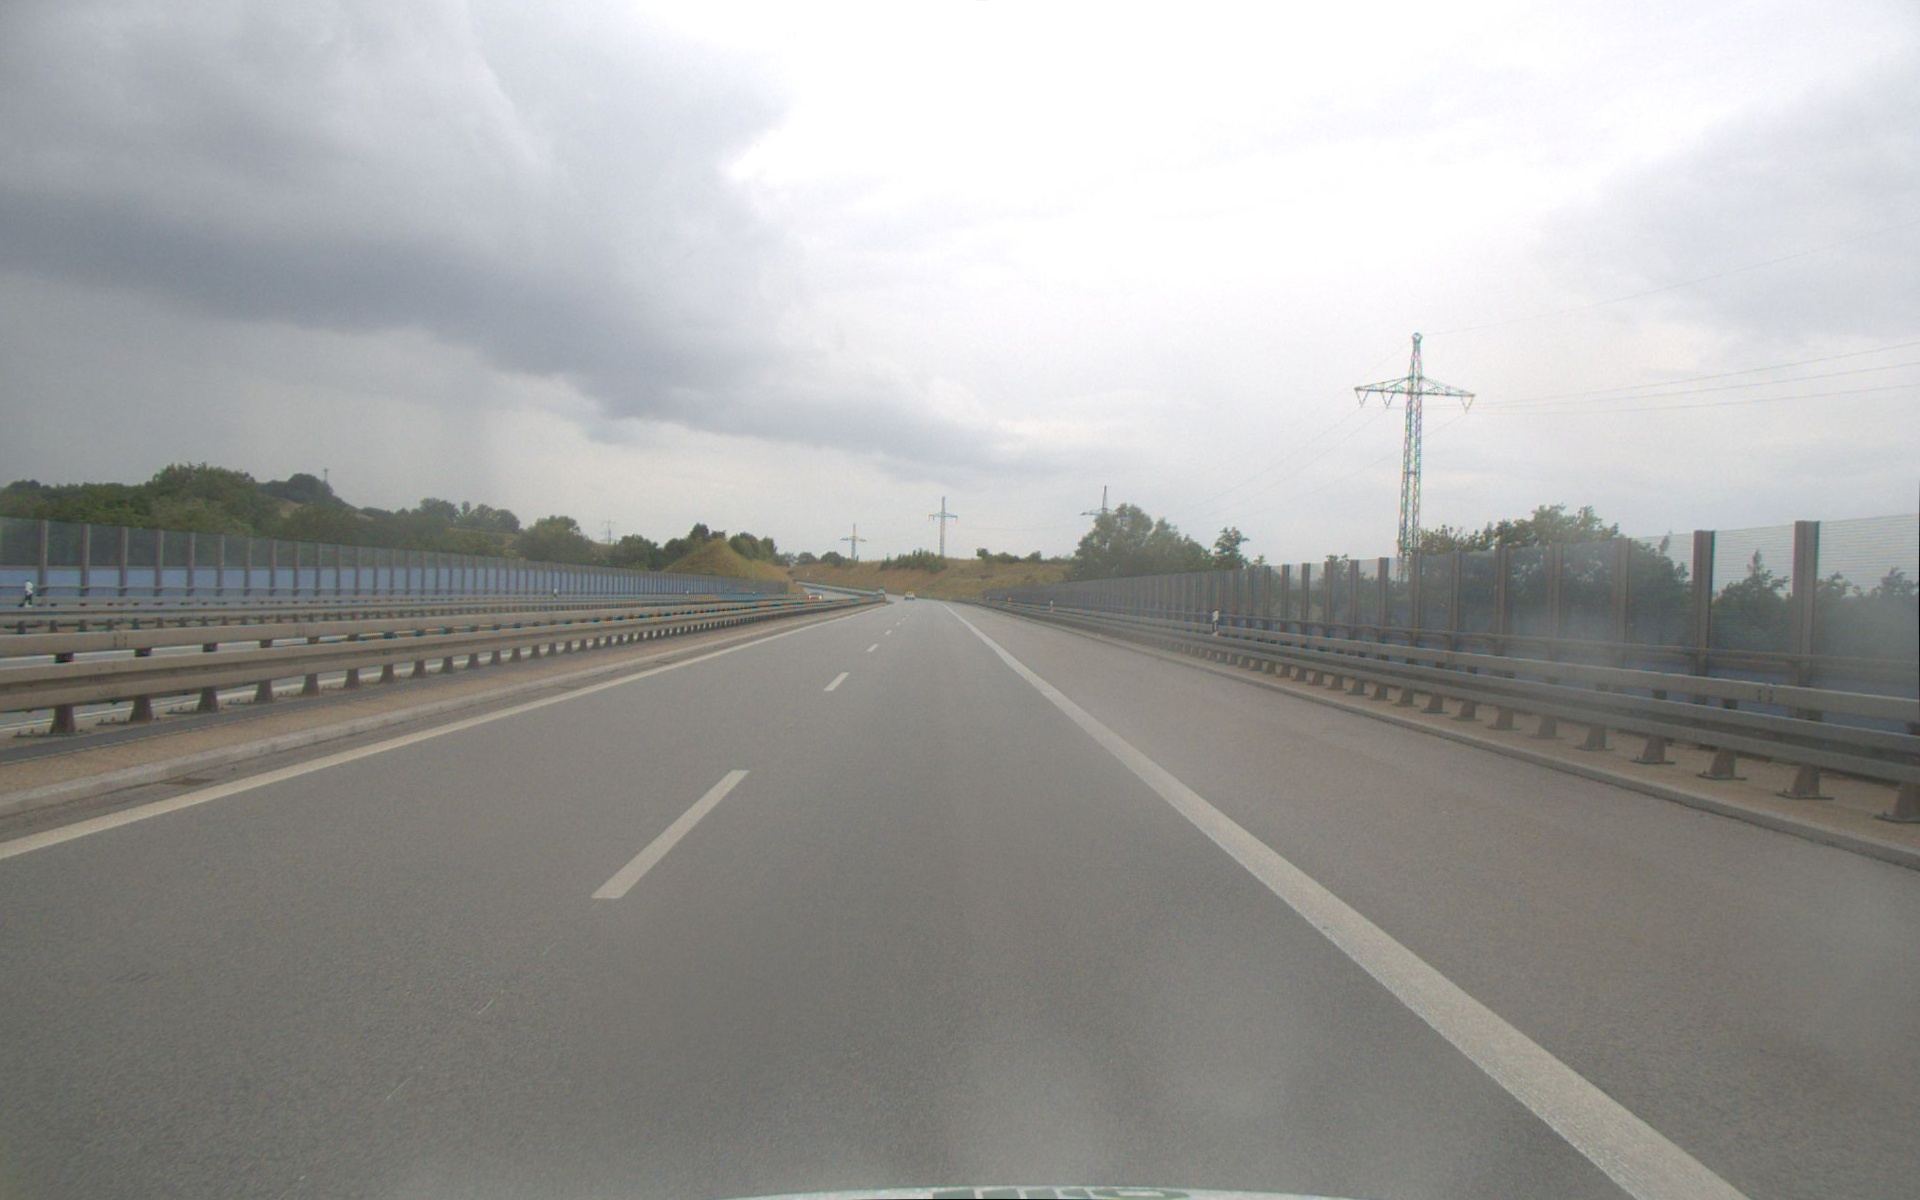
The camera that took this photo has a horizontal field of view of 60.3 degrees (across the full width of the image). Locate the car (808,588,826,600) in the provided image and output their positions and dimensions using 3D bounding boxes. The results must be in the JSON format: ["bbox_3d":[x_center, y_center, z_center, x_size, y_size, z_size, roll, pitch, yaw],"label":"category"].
[{"bbox_3d":[-17.815,-0.751,205.759,1.953,1.541,4.287,1,0,-1],"label":"car"}]
